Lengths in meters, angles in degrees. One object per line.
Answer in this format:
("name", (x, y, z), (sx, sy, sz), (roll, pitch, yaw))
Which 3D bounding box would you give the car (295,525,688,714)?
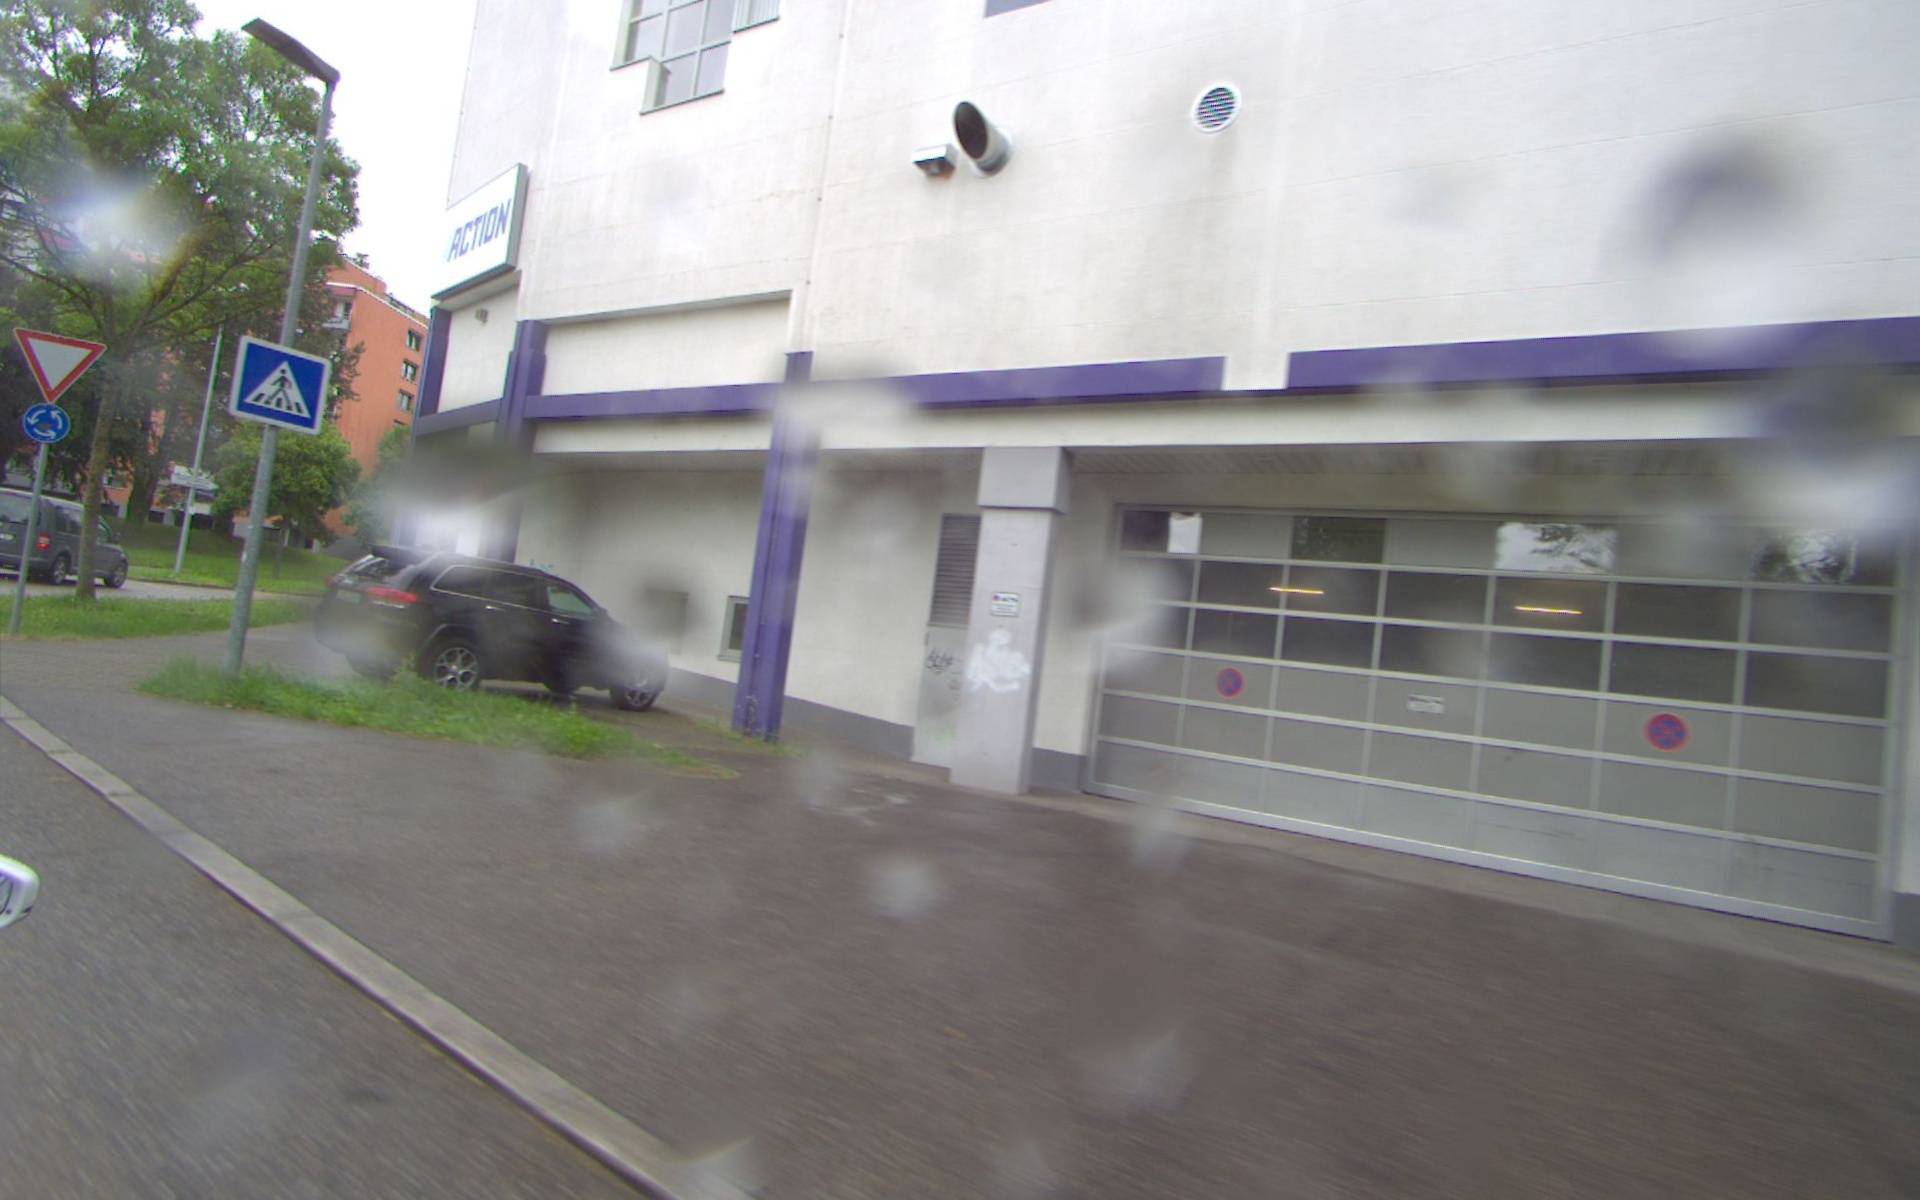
("car", (-6.072, 0.392, 13.651), (1.798, 1.777, 4.393), (9, -4, 30))

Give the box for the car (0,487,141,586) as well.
("car", (-20.165, -1.392, 22.162), (1.900, 1.821, 3.774), (10, -3, -20))
